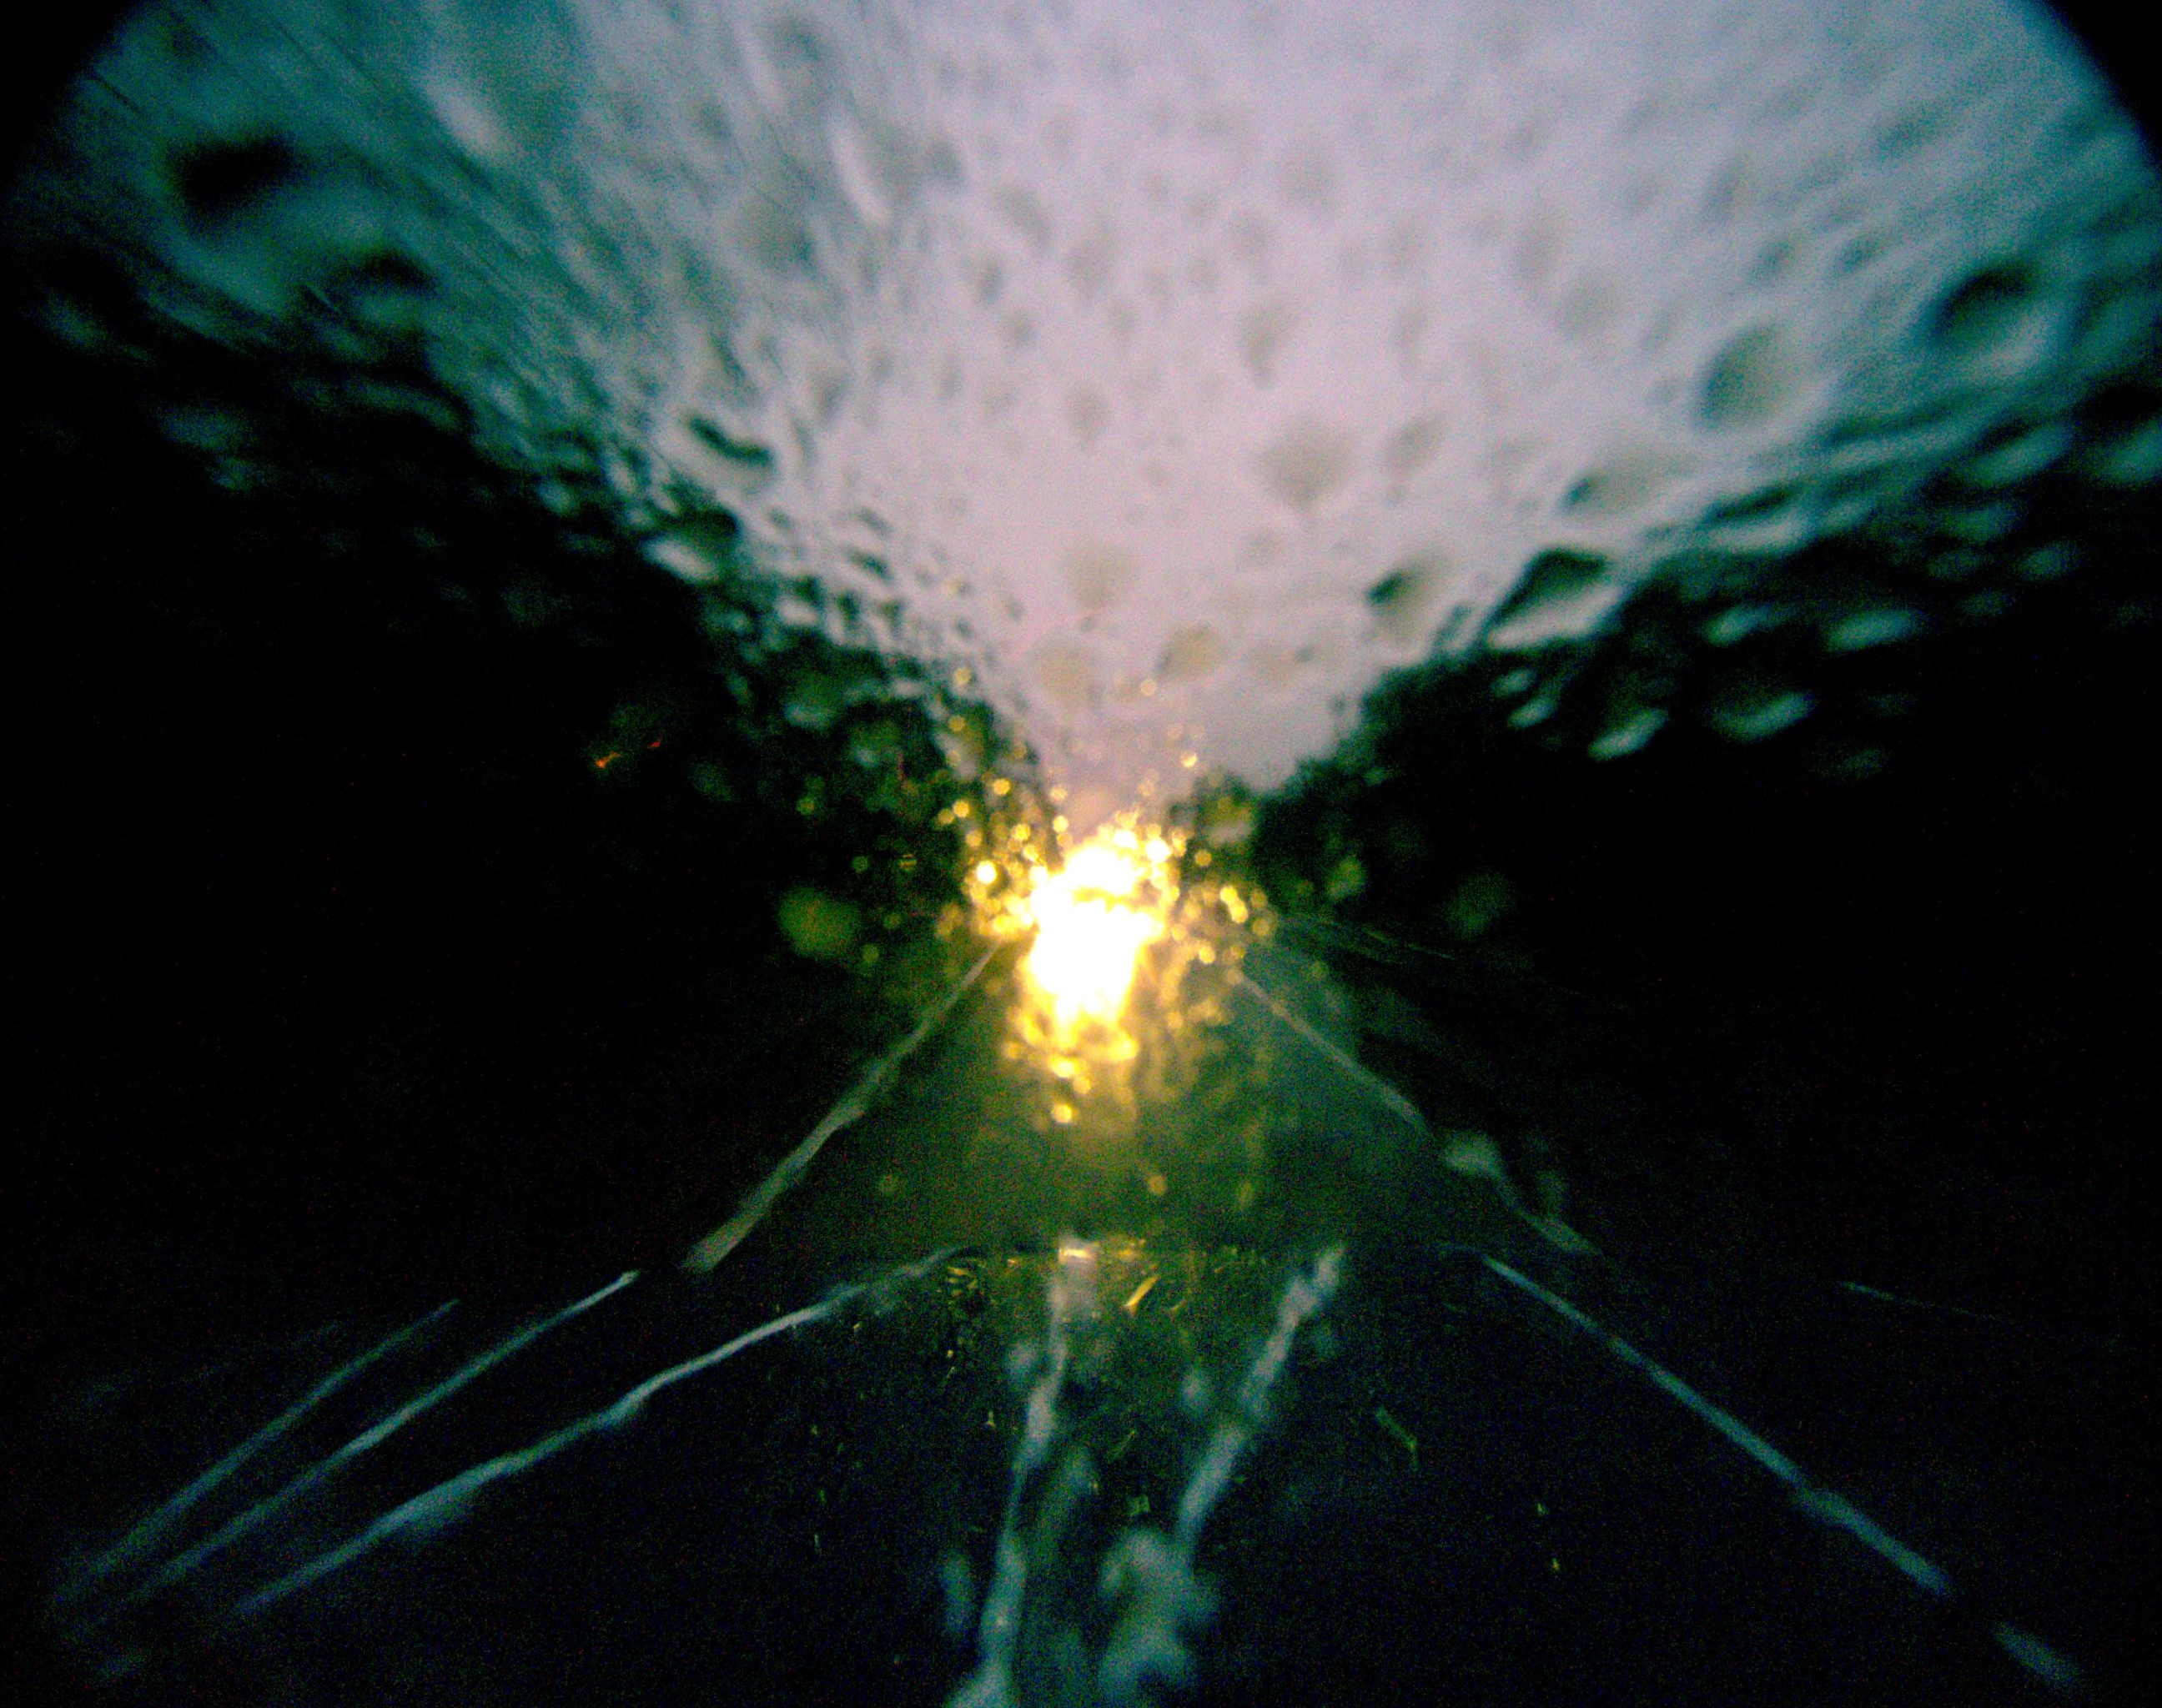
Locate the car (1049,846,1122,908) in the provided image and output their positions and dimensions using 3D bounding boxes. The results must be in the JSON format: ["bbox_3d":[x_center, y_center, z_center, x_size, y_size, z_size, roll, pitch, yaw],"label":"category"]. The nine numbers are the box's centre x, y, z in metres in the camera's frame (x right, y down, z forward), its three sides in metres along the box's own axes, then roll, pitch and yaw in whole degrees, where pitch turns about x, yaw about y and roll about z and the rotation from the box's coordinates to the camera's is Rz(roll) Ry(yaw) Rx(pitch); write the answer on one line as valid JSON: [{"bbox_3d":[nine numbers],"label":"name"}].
[{"bbox_3d":[0.138,0.654,23.597,1.998,1.672,4.000,-2,0,0],"label":"car"}]
